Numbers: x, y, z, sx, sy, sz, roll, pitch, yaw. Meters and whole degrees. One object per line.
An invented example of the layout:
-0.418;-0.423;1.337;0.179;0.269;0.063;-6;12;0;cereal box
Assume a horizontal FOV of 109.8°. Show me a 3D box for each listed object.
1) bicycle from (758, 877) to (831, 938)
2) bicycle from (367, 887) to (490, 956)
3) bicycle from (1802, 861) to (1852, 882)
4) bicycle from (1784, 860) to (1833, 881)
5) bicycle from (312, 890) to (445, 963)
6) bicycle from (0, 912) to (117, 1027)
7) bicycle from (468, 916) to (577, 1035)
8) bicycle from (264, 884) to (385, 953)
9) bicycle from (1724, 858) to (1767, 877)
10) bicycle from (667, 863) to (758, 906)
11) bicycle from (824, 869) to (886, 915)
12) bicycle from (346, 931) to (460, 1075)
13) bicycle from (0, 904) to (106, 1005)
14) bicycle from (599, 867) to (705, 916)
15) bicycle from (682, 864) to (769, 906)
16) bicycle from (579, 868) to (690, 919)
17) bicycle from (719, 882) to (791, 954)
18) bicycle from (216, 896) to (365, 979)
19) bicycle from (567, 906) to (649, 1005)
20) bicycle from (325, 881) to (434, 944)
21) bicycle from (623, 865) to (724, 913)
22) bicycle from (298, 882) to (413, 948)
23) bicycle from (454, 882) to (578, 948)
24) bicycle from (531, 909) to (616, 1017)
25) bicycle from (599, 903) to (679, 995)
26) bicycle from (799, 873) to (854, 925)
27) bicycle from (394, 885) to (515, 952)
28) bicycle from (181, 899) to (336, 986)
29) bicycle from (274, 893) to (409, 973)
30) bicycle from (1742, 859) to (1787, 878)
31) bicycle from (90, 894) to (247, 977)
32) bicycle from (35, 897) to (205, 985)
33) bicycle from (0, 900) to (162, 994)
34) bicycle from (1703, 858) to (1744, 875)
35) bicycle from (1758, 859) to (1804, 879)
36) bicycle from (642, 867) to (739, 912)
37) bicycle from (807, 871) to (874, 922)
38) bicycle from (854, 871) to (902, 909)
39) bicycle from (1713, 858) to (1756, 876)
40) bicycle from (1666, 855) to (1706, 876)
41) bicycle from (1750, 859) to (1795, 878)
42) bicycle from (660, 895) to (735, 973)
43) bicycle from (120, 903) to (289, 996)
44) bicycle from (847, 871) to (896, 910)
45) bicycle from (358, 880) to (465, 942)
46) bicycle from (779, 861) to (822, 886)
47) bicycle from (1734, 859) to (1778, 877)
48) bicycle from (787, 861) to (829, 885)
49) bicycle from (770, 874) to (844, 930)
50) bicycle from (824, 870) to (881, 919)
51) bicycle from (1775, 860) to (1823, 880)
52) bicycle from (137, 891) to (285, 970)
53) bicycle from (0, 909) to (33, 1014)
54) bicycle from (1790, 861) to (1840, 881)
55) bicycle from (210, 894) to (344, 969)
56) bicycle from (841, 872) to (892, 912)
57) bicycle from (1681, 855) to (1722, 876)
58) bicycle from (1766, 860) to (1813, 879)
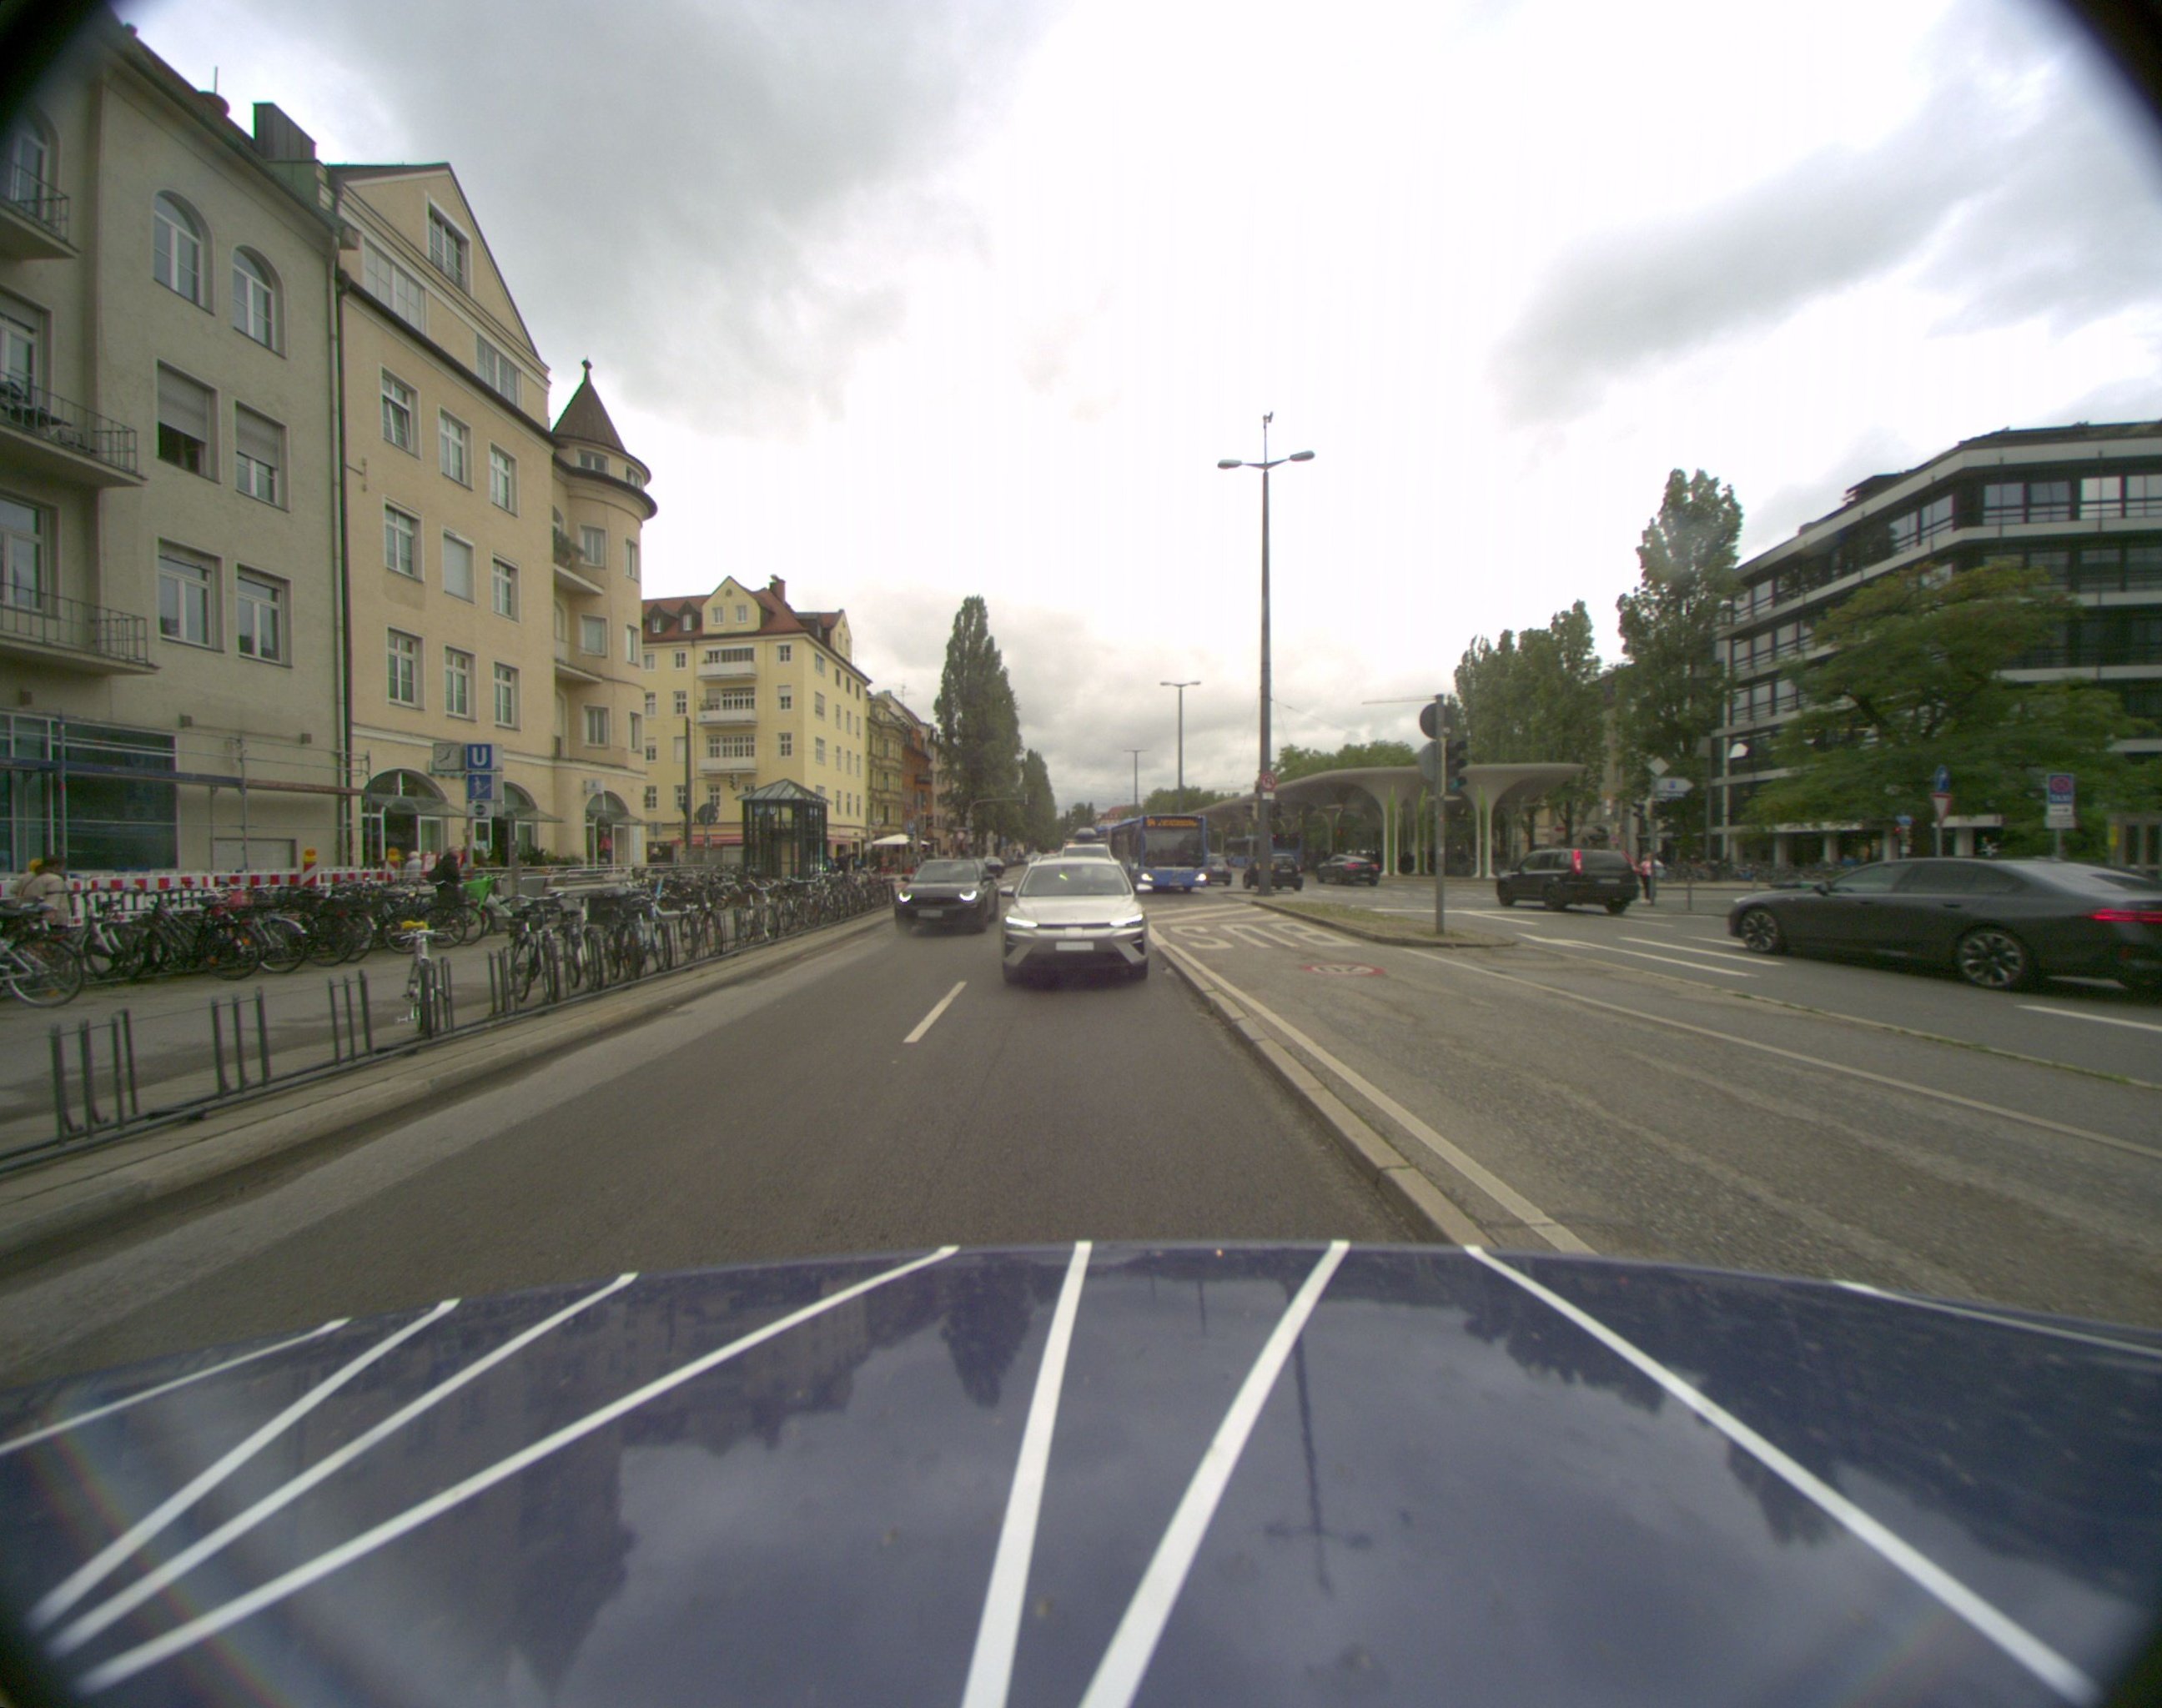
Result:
-5.801;1.048;15.348;1.790;1.131;0.490;-1;2;39;bicycle
-10.582;1.087;12.343;1.605;1.071;0.410;1;1;-1;bicycle
40.845;0.969;41.614;2.073;1.127;0.561;0;1;6;bicycle
41.064;0.935;42.911;2.073;1.127;0.561;0;1;6;bicycle
-10.810;1.107;11.712;1.625;1.071;0.410;1;1;-1;bicycle
-10.612;1.133;7.507;1.453;1.071;0.410;0;1;-8;bicycle
-5.699;1.178;7.713;1.797;1.053;0.398;-4;0;39;bicycle
-12.203;1.041;12.284;1.452;1.071;0.410;1;1;-5;bicycle
41.408;0.833;47.345;2.073;1.127;0.561;0;1;6;bicycle
-10.657;0.877;21.986;2.330;1.220;0.628;0;1;3;bicycle
-5.807;0.962;19.507;1.780;1.131;0.479;-1;1;35;bicycle
-5.688;1.173;6.338;1.797;1.004;0.387;-4;0;39;bicycle
-12.043;1.113;8.504;1.536;1.071;0.410;0;1;-7;bicycle
-10.818;0.940;19.208;2.342;1.220;0.628;0;1;3;bicycle
-10.625;0.933;22.742;2.317;1.220;0.628;0;1;3;bicycle
-10.874;0.955;18.530;2.367;1.220;0.628;0;1;3;bicycle
-5.751;1.087;13.363;1.790;1.131;0.490;-1;2;45;bicycle
-10.870;1.135;10.472;1.661;1.071;0.410;1;1;2;bicycle
-5.713;1.175;9.132;0.398;1.053;1.848;-4;-1;-44;bicycle
-12.263;1.022;13.304;1.452;1.071;0.410;1;1;-5;bicycle
-10.667;0.920;19.921;2.317;1.220;0.628;0;1;3;bicycle
-12.221;1.030;12.818;1.452;1.071;0.410;1;1;-5;bicycle
-10.275;1.076;13.887;0.409;1.071;1.765;2;2;40;bicycle
-5.670;1.164;8.441;0.398;1.053;1.848;-4;-1;-44;bicycle
-5.726;1.187;9.804;0.398;1.053;1.848;-4;-1;-44;bicycle
-5.843;1.007;17.393;1.521;1.131;0.349;-1;2;37;bicycle
-10.533;1.076;12.795;1.655;1.071;0.410;1;1;-1;bicycle
-10.656;1.140;9.864;1.528;1.071;0.410;1;1;-1;bicycle
-10.598;1.117;10.902;1.637;1.071;0.410;1;1;5;bicycle
41.360;0.862;45.989;2.073;1.127;0.561;0;1;6;bicycle
-12.382;1.087;10.336;1.453;1.071;0.410;0;1;-8;bicycle
-12.260;1.095;9.721;1.453;1.071;0.410;0;1;-8;bicycle
-12.156;1.104;9.161;1.453;1.071;0.410;0;1;-8;bicycle
41.445;0.797;49.023;2.073;1.127;0.561;0;1;6;bicycle
41.252;0.891;44.774;2.073;1.127;0.561;0;1;6;bicycle
-10.702;0.966;20.859;2.342;1.220;0.628;0;1;3;bicycle
-5.668;0.991;17.869;1.674;1.131;0.479;-1;1;31;bicycle
-6.025;1.076;22.518;1.848;1.053;0.398;-5;-1;43;bicycle
41.427;0.815;48.185;2.073;1.127;0.561;0;1;6;bicycle
32.785;0.597;41.194;0.473;1.091;1.671;-1;1;-24;bicycle
41.295;0.877;45.378;2.073;1.127;0.561;0;1;6;bicycle
-5.737;1.163;11.315;0.398;1.053;1.848;-4;-1;-44;bicycle
-10.678;1.153;9.276;1.539;1.071;0.410;1;1;-1;bicycle
-6.037;1.071;21.856;1.848;1.053;0.398;-5;-1;43;bicycle
-12.266;1.034;13.936;1.650;1.071;0.410;1;1;3;bicycle
-13.068;0.910;35.435;1.822;1.121;0.610;0;0;13;bicycle
41.388;0.849;46.608;2.073;1.127;0.561;0;1;6;bicycle
-12.971;0.893;36.082;1.822;1.121;0.610;0;0;13;bicycle
-6.015;1.028;16.661;1.790;1.131;0.591;-1;1;37;bicycle
-5.650;0.972;18.744;1.673;1.131;0.479;-1;2;40;bicycle
41.145;0.920;43.523;2.073;1.127;0.561;0;1;6;bicycle
-12.375;1.076;10.830;1.453;1.071;0.410;0;1;-8;bicycle
-12.071;1.127;7.906;1.536;1.071;0.410;0;1;-7;bicycle
40.890;0.953;42.323;2.073;1.127;0.561;0;1;6;bicycle
-12.012;1.153;11.375;1.530;1.071;0.410;1;1;-1;bicycle
-5.973;1.072;21.090;1.848;1.053;0.398;-5;-1;43;bicycle
34.084;0.621;41.762;0.473;1.091;1.671;-1;1;-24;bicycle
41.204;0.904;44.191;2.073;1.127;0.561;0;1;6;bicycle
